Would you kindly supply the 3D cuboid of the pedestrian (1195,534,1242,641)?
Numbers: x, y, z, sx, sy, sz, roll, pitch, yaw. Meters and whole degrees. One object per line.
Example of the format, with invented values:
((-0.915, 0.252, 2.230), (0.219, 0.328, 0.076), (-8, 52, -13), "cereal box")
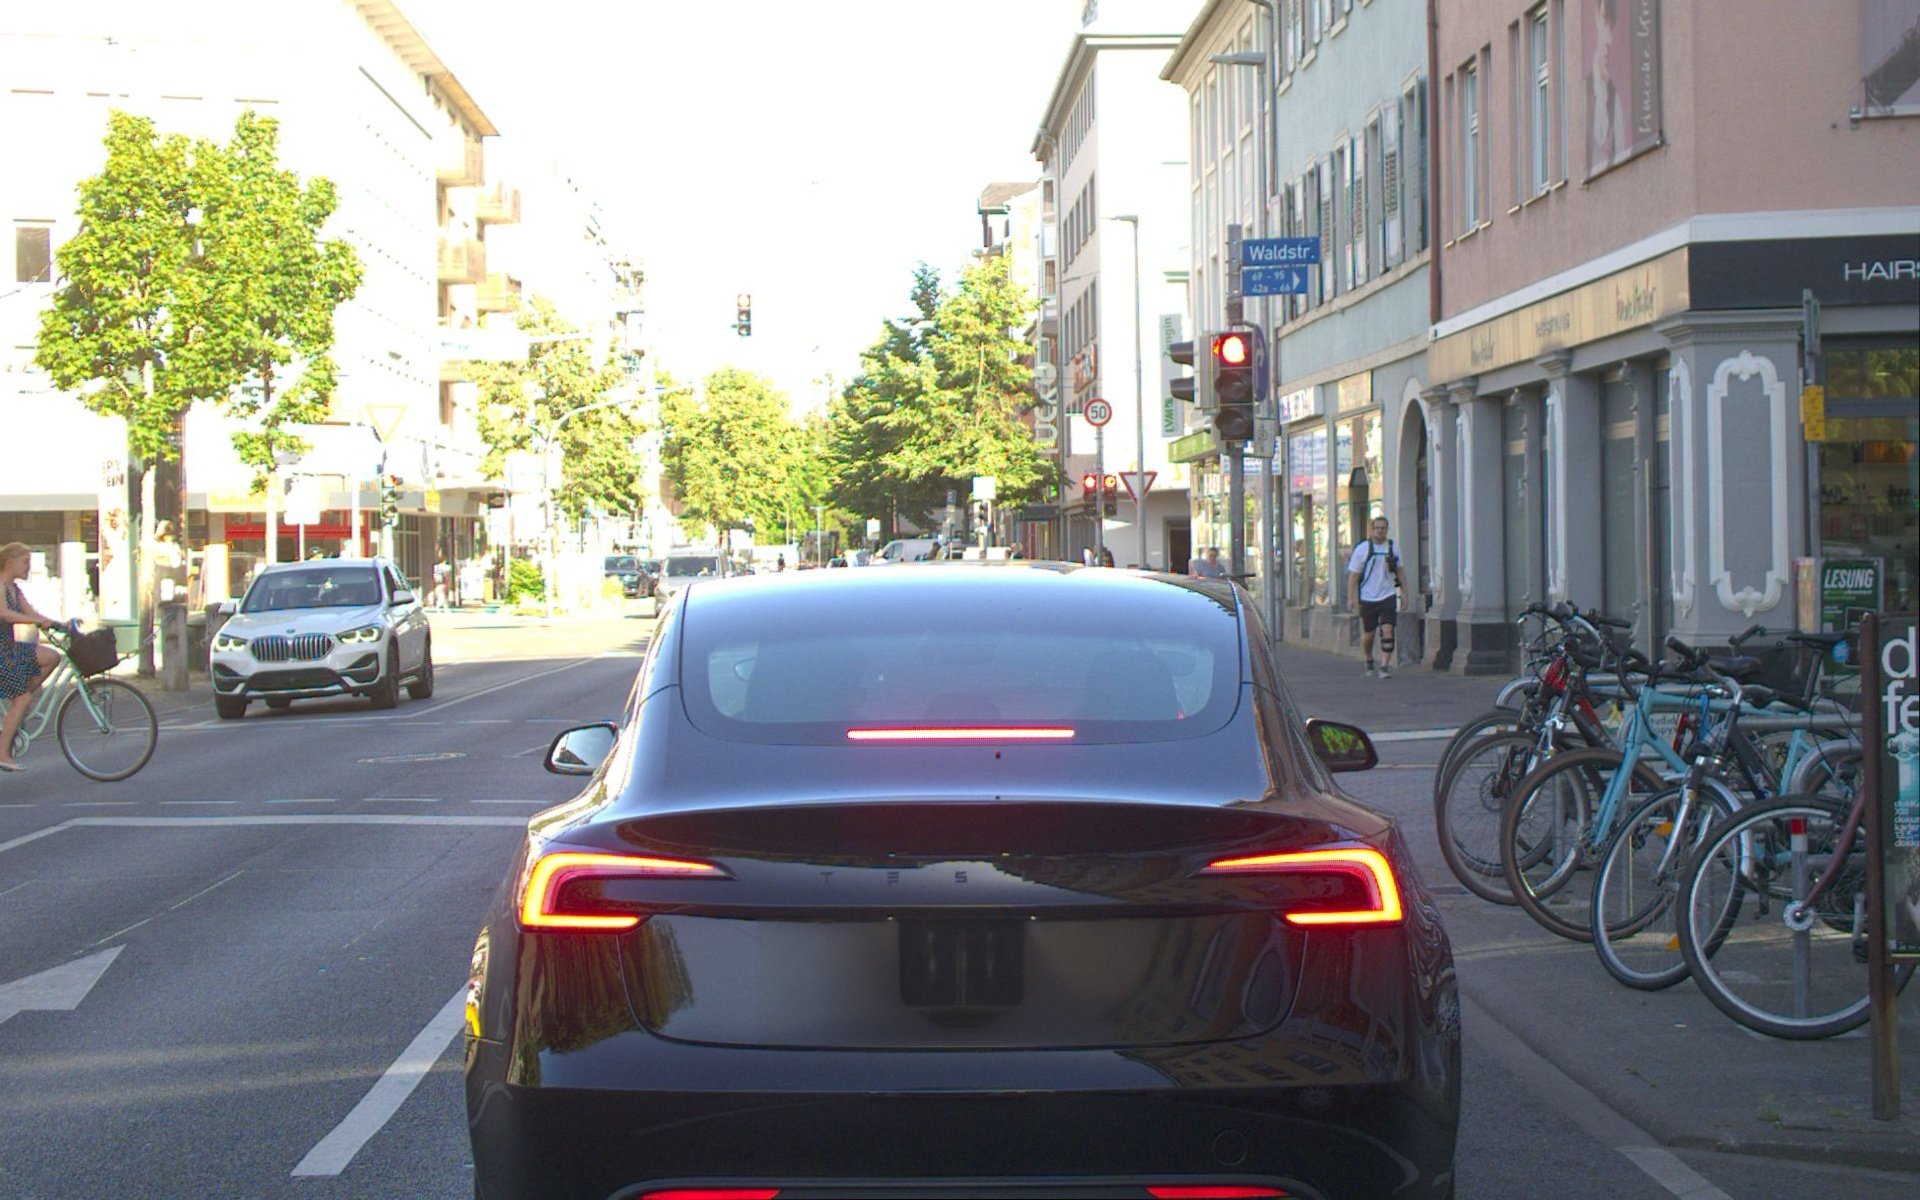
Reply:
((4.195, -0.210, 55.847), (0.706, 1.736, 0.540), (0, 1, -1), "pedestrian")

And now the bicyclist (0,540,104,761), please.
((-6.480, 0.348, 23.686), (0.891, 1.477, 0.701), (-2, 0, 6), "bicyclist")

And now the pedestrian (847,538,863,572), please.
((-6.271, -2.709, 204.950), (0.930, 2.007, 0.938), (1, 0, -1), "pedestrian")

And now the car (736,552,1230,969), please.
((0.012, 0.533, 13.834), (1.718, 1.420, 3.758), (0, 1, -2), "car")

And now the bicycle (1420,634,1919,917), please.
((2.800, 0.688, 13.645), (1.873, 1.034, 0.547), (-2, 0, 5), "bicycle")

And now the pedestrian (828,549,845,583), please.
((-7.373, -2.033, 205.180), (0.930, 2.007, 0.938), (1, 0, -1), "pedestrian")

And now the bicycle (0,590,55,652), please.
((-14.809, 0.316, 52.390), (1.864, 0.931, 0.606), (0, 1, -1), "bicycle")

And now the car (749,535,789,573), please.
((-10.361, -2.509, 187.081), (1.993, 2.007, 4.000), (1, 1, -1), "car")

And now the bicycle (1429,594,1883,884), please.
((2.965, 0.591, 14.753), (1.828, 1.165, 0.505), (-2, 0, 5), "bicycle")

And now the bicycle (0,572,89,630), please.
((-20.945, 0.014, 77.755), (2.361, 1.291, 0.513), (1, 0, -26), "bicycle")

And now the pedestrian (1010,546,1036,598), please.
((1.749, -0.783, 95.767), (0.521, 1.417, 0.479), (1, 0, -30), "pedestrian")

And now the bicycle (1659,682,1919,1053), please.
((3.015, 0.754, 9.982), (1.873, 1.034, 0.353), (-2, 0, 6), "bicycle")

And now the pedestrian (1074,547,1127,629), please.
((2.838, -0.249, 69.458), (0.754, 1.626, 0.956), (1, 0, -18), "pedestrian")

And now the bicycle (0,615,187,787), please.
((-6.403, 0.703, 23.677), (1.934, 1.114, 0.709), (-2, 0, 7), "bicycle")

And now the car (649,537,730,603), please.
((-6.998, -0.781, 89.287), (1.787, 1.640, 4.403), (1, 1, -1), "car")

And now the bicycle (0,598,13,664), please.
((-14.716, 0.434, 49.736), (1.864, 0.931, 0.606), (1, 0, -1), "bicycle")

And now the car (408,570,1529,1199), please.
((-0.008, 0.656, 7.591), (1.822, 1.437, 4.000), (0, 1, -1), "car")

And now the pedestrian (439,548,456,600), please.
((-14.464, -0.726, 97.041), (0.459, 1.455, 0.518), (0, 1, -5), "pedestrian")

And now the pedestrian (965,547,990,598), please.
((0.494, -0.773, 95.863), (0.472, 1.412, 0.522), (1, 0, -31), "pedestrian")

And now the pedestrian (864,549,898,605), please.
((-2.413, -0.694, 104.736), (0.715, 1.689, 0.851), (0, 1, -28), "pedestrian")

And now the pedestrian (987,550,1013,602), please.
((1.110, -0.658, 95.052), (0.521, 1.417, 0.479), (1, 0, -30), "pedestrian")

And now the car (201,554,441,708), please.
((-6.649, 0.290, 36.151), (1.789, 1.455, 3.757), (-2, 1, 0), "car")

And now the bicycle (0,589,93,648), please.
((-14.837, 0.291, 54.838), (1.864, 0.931, 0.606), (0, 1, -1), "bicycle")

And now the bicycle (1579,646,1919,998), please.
((2.996, 0.701, 11.160), (1.873, 1.084, 0.414), (-2, 0, 4), "bicycle")

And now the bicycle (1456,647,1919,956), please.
((2.778, 0.719, 12.459), (1.873, 1.034, 0.533), (-2, 0, 4), "bicycle")

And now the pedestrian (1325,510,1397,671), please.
((4.444, -0.109, 38.143), (0.750, 1.759, 0.836), (0, 0, 4), "pedestrian")

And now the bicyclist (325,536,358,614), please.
((-11.903, -0.481, 66.160), (0.522, 1.498, 0.476), (1, 0, -25), "bicyclist")
